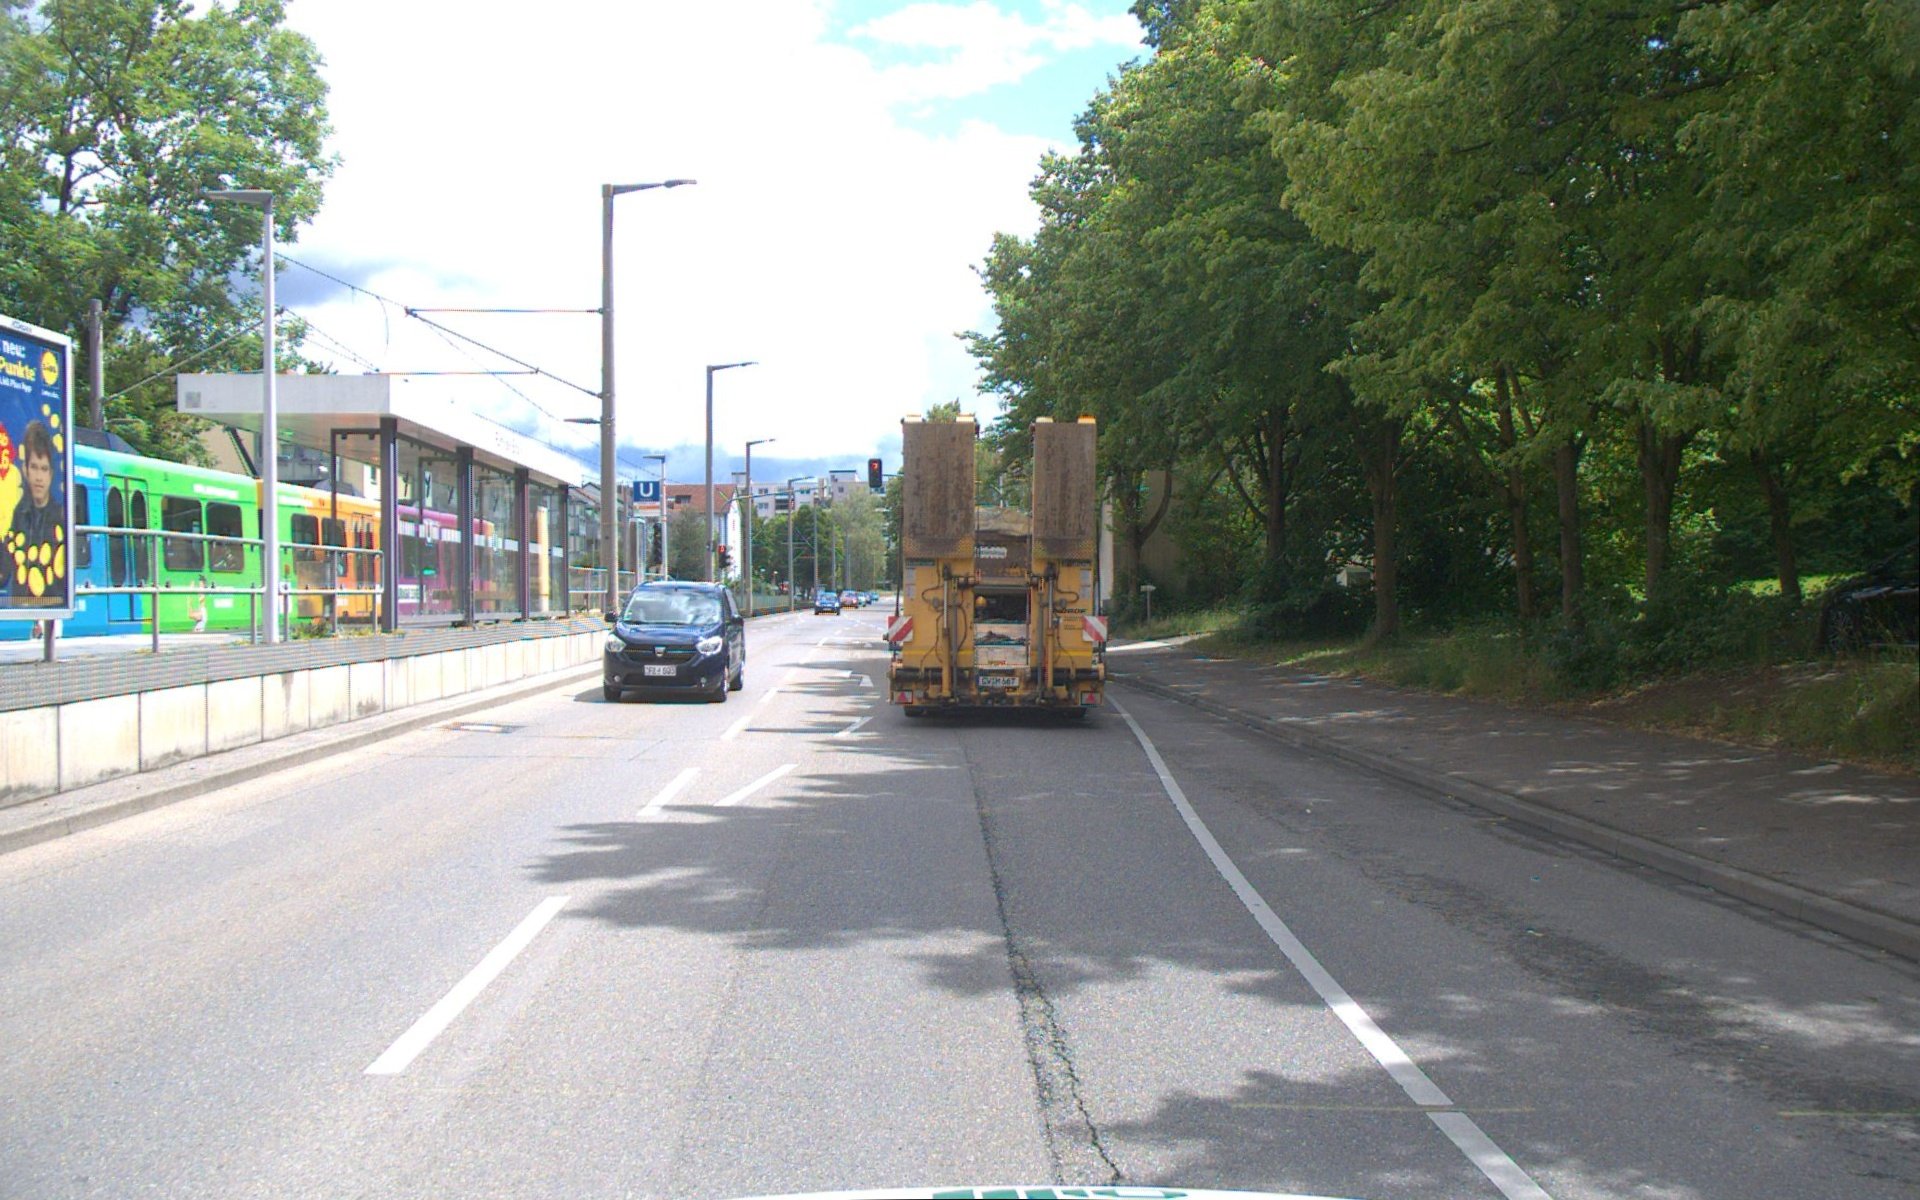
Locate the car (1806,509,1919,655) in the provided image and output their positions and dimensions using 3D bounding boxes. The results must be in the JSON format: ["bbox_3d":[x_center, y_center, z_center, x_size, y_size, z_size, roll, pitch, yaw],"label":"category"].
[{"bbox_3d":[10.930,-0.238,17.453,1.681,1.534,4.158,-3,0,-2],"label":"car"}]

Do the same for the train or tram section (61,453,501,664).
[{"bbox_3d":[-14.147,-0.735,37.568,3.046,3.525,19.077,1,0,-3],"label":"train or tram section"}]

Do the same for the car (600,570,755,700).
[{"bbox_3d":[-4.050,0.459,24.296,1.686,1.712,4.385,1,0,-3],"label":"car"}]

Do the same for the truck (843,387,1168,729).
[{"bbox_3d":[0.044,-0.514,25.386,3.336,3.797,13.723,0,0,-5],"label":"truck"}]

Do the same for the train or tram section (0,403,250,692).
[{"bbox_3d":[-13.131,-0.661,18.483,3.046,3.525,19.186,1,0,-3],"label":"train or tram section"}]

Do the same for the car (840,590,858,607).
[{"bbox_3d":[-10.268,-0.106,153.347,1.634,1.478,3.676,1,-1,-3],"label":"car"}]

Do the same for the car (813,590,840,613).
[{"bbox_3d":[-8.875,0.134,110.149,1.634,1.478,3.676,1,-1,-3],"label":"car"}]
